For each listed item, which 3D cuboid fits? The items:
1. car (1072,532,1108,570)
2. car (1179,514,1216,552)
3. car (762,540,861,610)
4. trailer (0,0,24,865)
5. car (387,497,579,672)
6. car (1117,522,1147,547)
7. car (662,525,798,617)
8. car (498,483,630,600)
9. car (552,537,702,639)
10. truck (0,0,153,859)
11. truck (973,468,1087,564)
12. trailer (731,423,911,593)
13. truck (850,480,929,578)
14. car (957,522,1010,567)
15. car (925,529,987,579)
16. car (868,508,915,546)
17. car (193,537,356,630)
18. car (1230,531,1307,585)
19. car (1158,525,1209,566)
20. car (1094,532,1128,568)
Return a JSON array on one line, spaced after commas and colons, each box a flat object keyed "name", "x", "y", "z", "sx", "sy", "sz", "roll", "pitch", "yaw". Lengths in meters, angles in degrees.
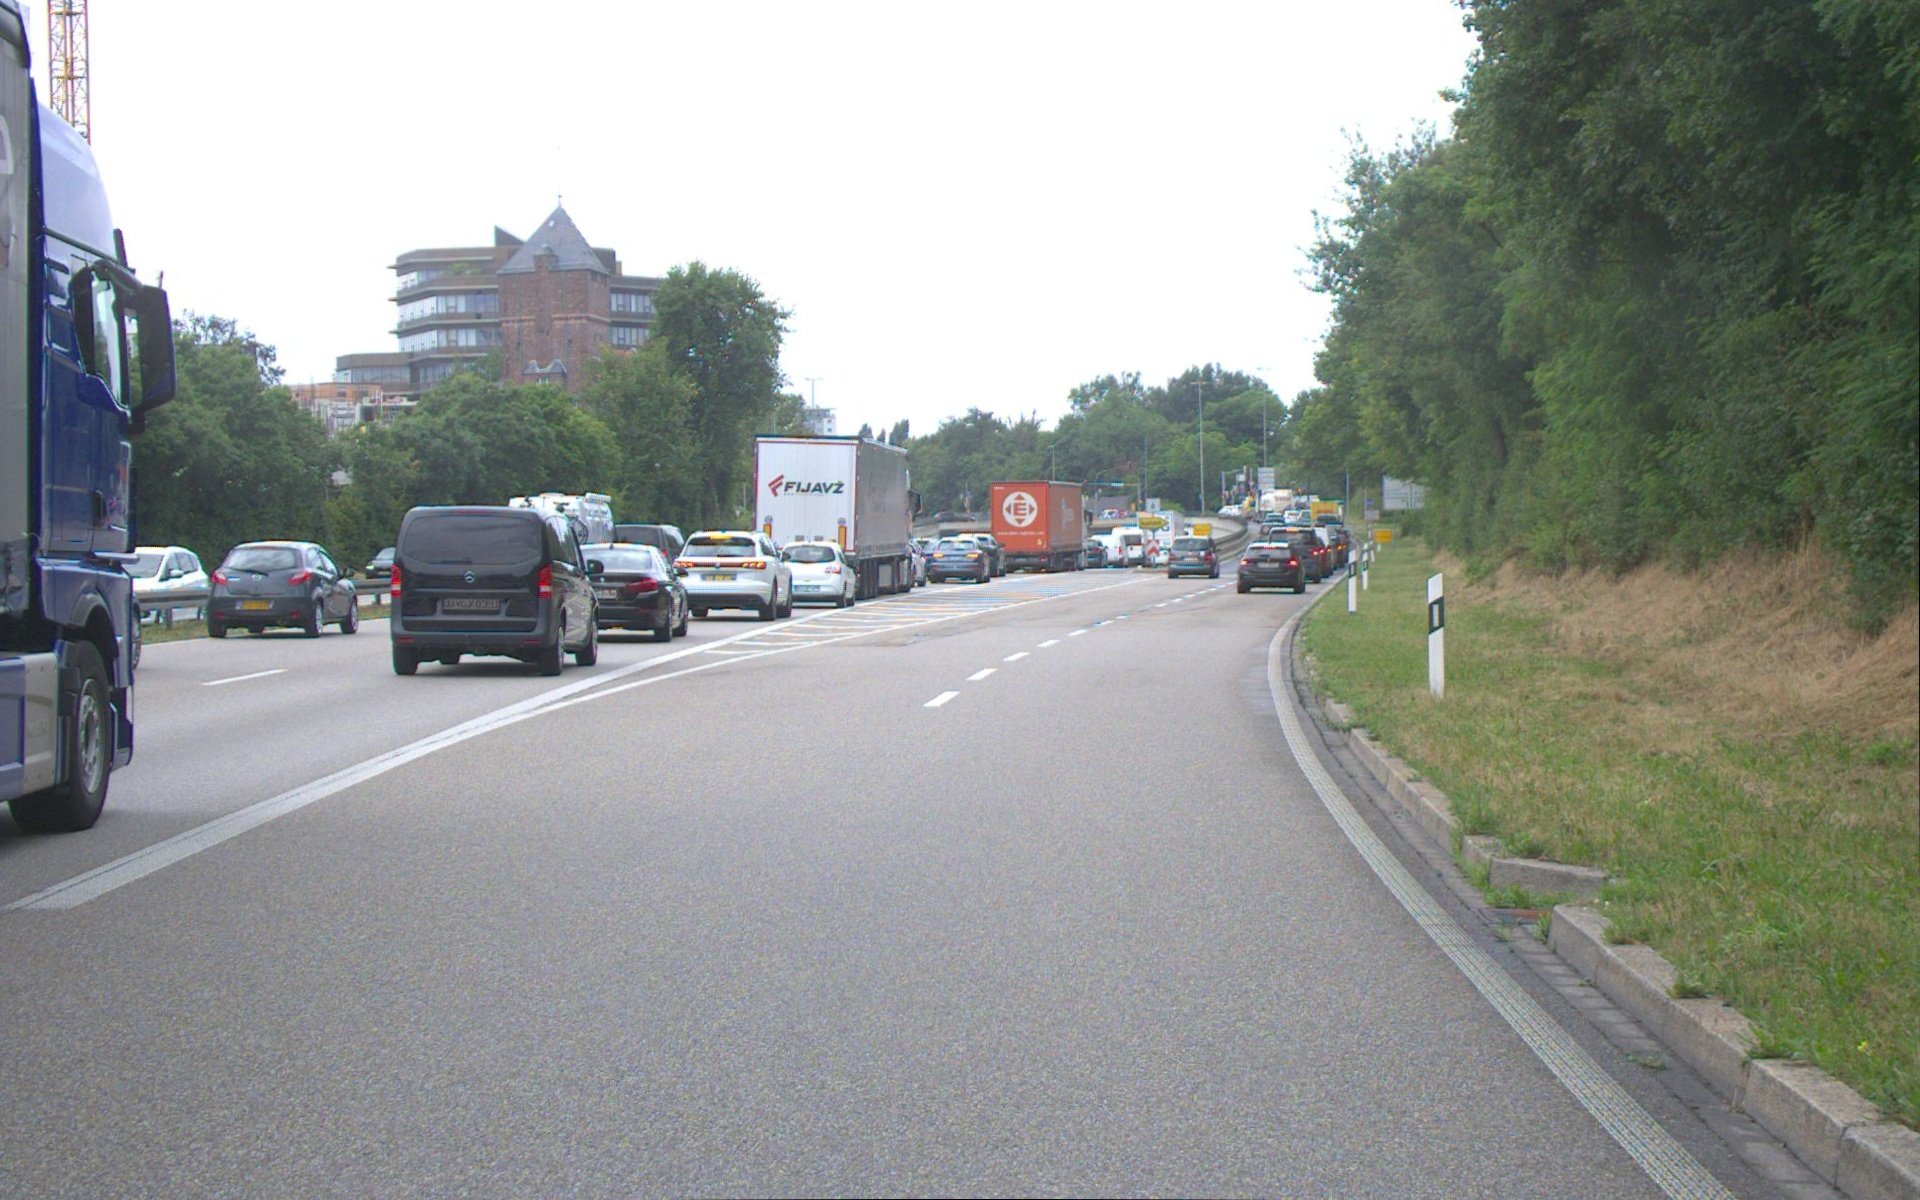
[{"name": "car", "x": 6.749, "y": -2.515, "z": 178.371, "sx": 1.615, "sy": 1.941, "sz": 3.704, "roll": 1, "pitch": 1, "yaw": 5}, {"name": "car", "x": 12.763, "y": -3.590, "z": 184.887, "sx": 1.951, "sy": 2.007, "sz": 4.000, "roll": 0, "pitch": 1, "yaw": 4}, {"name": "car", "x": -3.308, "y": -0.577, "z": 77.246, "sx": 1.764, "sy": 1.473, "sz": 4.089, "roll": 2, "pitch": 1, "yaw": 3}, {"name": "trailer", "x": -5.348, "y": -0.748, "z": 9.094, "sx": 2.626, "sy": 4.009, "sz": 13.465, "roll": 1, "pitch": 1, "yaw": -3}, {"name": "car", "x": -5.457, "y": -0.200, "z": 39.836, "sx": 1.987, "sy": 1.891, "sz": 4.986, "roll": 1, "pitch": 1, "yaw": -6}, {"name": "car", "x": 10.340, "y": -3.959, "z": 207.169, "sx": 1.777, "sy": 1.477, "sz": 4.000, "roll": -1, "pitch": 1, "yaw": 3}, {"name": "car", "x": -4.376, "y": -0.559, "z": 66.067, "sx": 1.956, "sy": 1.689, "sz": 4.865, "roll": 1, "pitch": 1, "yaw": 4}, {"name": "car", "x": -8.893, "y": -1.332, "z": 77.644, "sx": 1.994, "sy": 2.545, "sz": 5.361, "roll": 0, "pitch": 1, "yaw": 4}, {"name": "car", "x": -5.044, "y": -0.200, "z": 52.569, "sx": 1.847, "sy": 1.455, "sz": 4.831, "roll": 1, "pitch": 1, "yaw": -1}, {"name": "truck", "x": -5.629, "y": -0.856, "z": 15.814, "sx": 2.560, "sy": 4.029, "sz": 6.590, "roll": 1, "pitch": 1, "yaw": -3}, {"name": "truck", "x": 3.255, "y": -3.761, "z": 154.392, "sx": 3.491, "sy": 4.059, "sz": 13.588, "roll": -1, "pitch": 1, "yaw": 8}, {"name": "trailer", "x": -3.423, "y": -2.272, "z": 88.908, "sx": 3.299, "sy": 4.022, "sz": 13.096, "roll": 1, "pitch": 1, "yaw": 3}, {"name": "truck", "x": -3.041, "y": -3.070, "z": 150.947, "sx": 2.738, "sy": 4.124, "sz": 10.696, "roll": 1, "pitch": 1, "yaw": 3}, {"name": "car", "x": 0.928, "y": -2.153, "z": 134.361, "sx": 1.717, "sy": 1.678, "sz": 3.999, "roll": 1, "pitch": 1, "yaw": 5}, {"name": "car", "x": -0.133, "y": -1.563, "z": 117.766, "sx": 1.717, "sy": 1.678, "sz": 3.999, "roll": 1, "pitch": 1, "yaw": 5}, {"name": "car", "x": -3.694, "y": -3.969, "z": 186.919, "sx": 1.994, "sy": 2.007, "sz": 3.999, "roll": 0, "pitch": 1, "yaw": 7}, {"name": "car", "x": -10.636, "y": -0.283, "z": 53.590, "sx": 1.674, "sy": 1.384, "sz": 4.000, "roll": 0, "pitch": 1, "yaw": 1}, {"name": "car", "x": 8.768, "y": -1.203, "z": 97.549, "sx": 1.826, "sy": 1.477, "sz": 3.998, "roll": 0, "pitch": 1, "yaw": 10}, {"name": "car", "x": 8.349, "y": -2.038, "z": 128.438, "sx": 1.825, "sy": 1.477, "sz": 4.000, "roll": -1, "pitch": 1, "yaw": 3}, {"name": "car", "x": 8.321, "y": -2.747, "z": 189.613, "sx": 1.615, "sy": 1.941, "sz": 3.704, "roll": 1, "pitch": 1, "yaw": 6}]
